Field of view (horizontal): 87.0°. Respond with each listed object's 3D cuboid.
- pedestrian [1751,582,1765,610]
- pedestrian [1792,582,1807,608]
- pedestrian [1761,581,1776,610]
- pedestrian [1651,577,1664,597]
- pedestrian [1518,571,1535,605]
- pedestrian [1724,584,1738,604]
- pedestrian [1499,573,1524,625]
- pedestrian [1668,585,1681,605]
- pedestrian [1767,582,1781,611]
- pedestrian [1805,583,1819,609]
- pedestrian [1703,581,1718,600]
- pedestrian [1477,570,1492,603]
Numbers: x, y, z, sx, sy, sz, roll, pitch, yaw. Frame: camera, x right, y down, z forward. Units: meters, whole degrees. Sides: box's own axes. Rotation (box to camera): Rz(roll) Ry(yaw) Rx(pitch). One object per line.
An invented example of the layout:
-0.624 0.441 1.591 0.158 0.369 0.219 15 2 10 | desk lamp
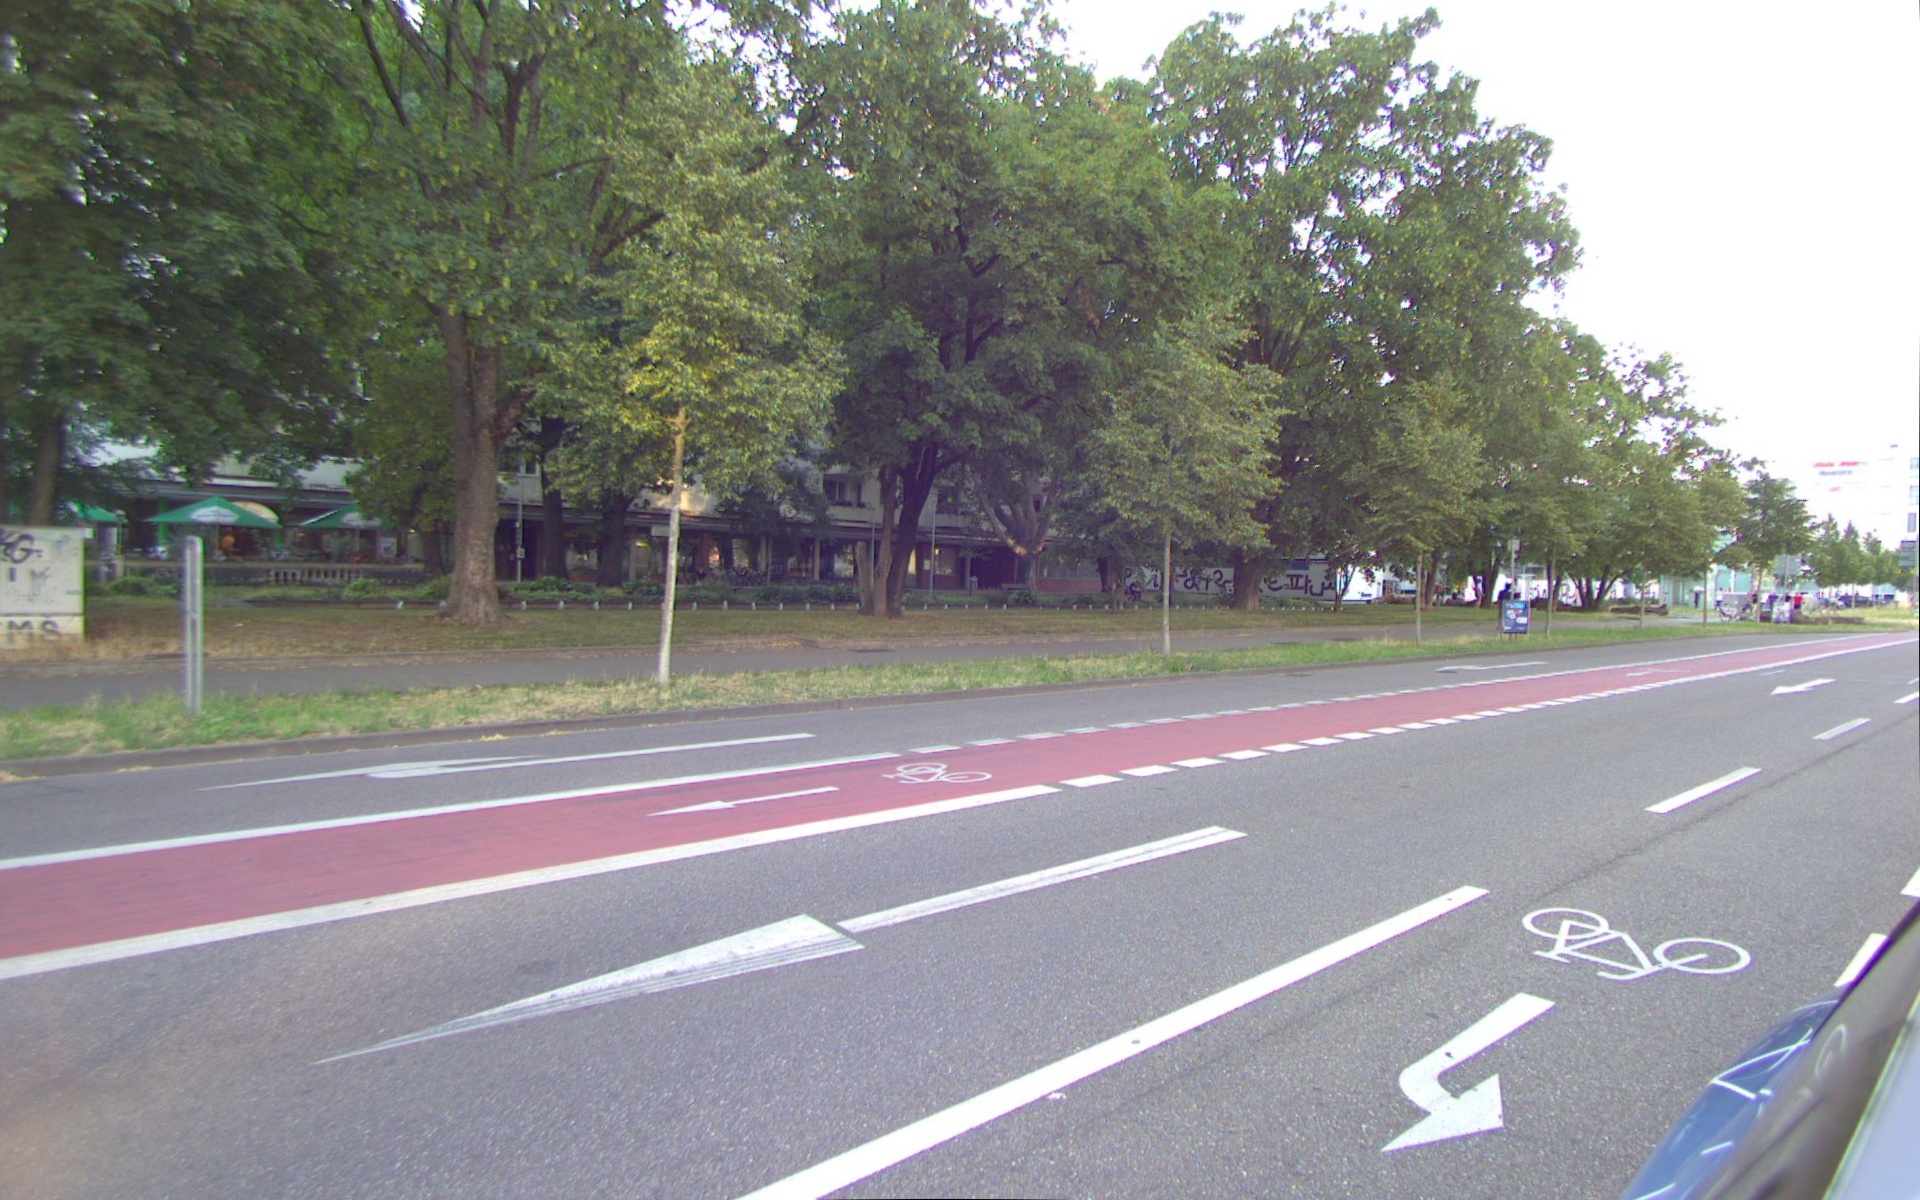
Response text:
50.234 -0.265 63.699 0.707 1.751 0.519 0 2 -40 | pedestrian
58.543 -0.322 70.561 0.497 1.779 0.638 0 2 -40 | pedestrian
48.677 -0.274 60.932 0.707 1.751 0.508 0 2 -40 | pedestrian
49.447 -0.900 71.712 0.759 1.371 0.519 0 2 -41 | pedestrian
27.413 -0.577 48.968 0.513 1.621 0.500 0 2 -41 | pedestrian
55.169 -0.422 72.448 0.550 1.371 0.662 0 2 -40 | pedestrian
19.175 -0.047 35.195 0.546 1.760 0.558 0 2 -41 | pedestrian
50.199 -0.353 71.065 0.759 1.371 0.519 0 2 -41 | pedestrian
50.773 -0.229 63.146 0.707 1.751 0.508 0 2 -40 | pedestrian
58.704 -0.254 69.714 0.497 1.779 0.638 0 2 -40 | pedestrian
54.676 -0.719 73.724 0.604 1.371 0.728 0 2 -40 | pedestrian
26.158 -0.659 50.467 0.359 1.621 0.500 1 2 -40 | pedestrian
